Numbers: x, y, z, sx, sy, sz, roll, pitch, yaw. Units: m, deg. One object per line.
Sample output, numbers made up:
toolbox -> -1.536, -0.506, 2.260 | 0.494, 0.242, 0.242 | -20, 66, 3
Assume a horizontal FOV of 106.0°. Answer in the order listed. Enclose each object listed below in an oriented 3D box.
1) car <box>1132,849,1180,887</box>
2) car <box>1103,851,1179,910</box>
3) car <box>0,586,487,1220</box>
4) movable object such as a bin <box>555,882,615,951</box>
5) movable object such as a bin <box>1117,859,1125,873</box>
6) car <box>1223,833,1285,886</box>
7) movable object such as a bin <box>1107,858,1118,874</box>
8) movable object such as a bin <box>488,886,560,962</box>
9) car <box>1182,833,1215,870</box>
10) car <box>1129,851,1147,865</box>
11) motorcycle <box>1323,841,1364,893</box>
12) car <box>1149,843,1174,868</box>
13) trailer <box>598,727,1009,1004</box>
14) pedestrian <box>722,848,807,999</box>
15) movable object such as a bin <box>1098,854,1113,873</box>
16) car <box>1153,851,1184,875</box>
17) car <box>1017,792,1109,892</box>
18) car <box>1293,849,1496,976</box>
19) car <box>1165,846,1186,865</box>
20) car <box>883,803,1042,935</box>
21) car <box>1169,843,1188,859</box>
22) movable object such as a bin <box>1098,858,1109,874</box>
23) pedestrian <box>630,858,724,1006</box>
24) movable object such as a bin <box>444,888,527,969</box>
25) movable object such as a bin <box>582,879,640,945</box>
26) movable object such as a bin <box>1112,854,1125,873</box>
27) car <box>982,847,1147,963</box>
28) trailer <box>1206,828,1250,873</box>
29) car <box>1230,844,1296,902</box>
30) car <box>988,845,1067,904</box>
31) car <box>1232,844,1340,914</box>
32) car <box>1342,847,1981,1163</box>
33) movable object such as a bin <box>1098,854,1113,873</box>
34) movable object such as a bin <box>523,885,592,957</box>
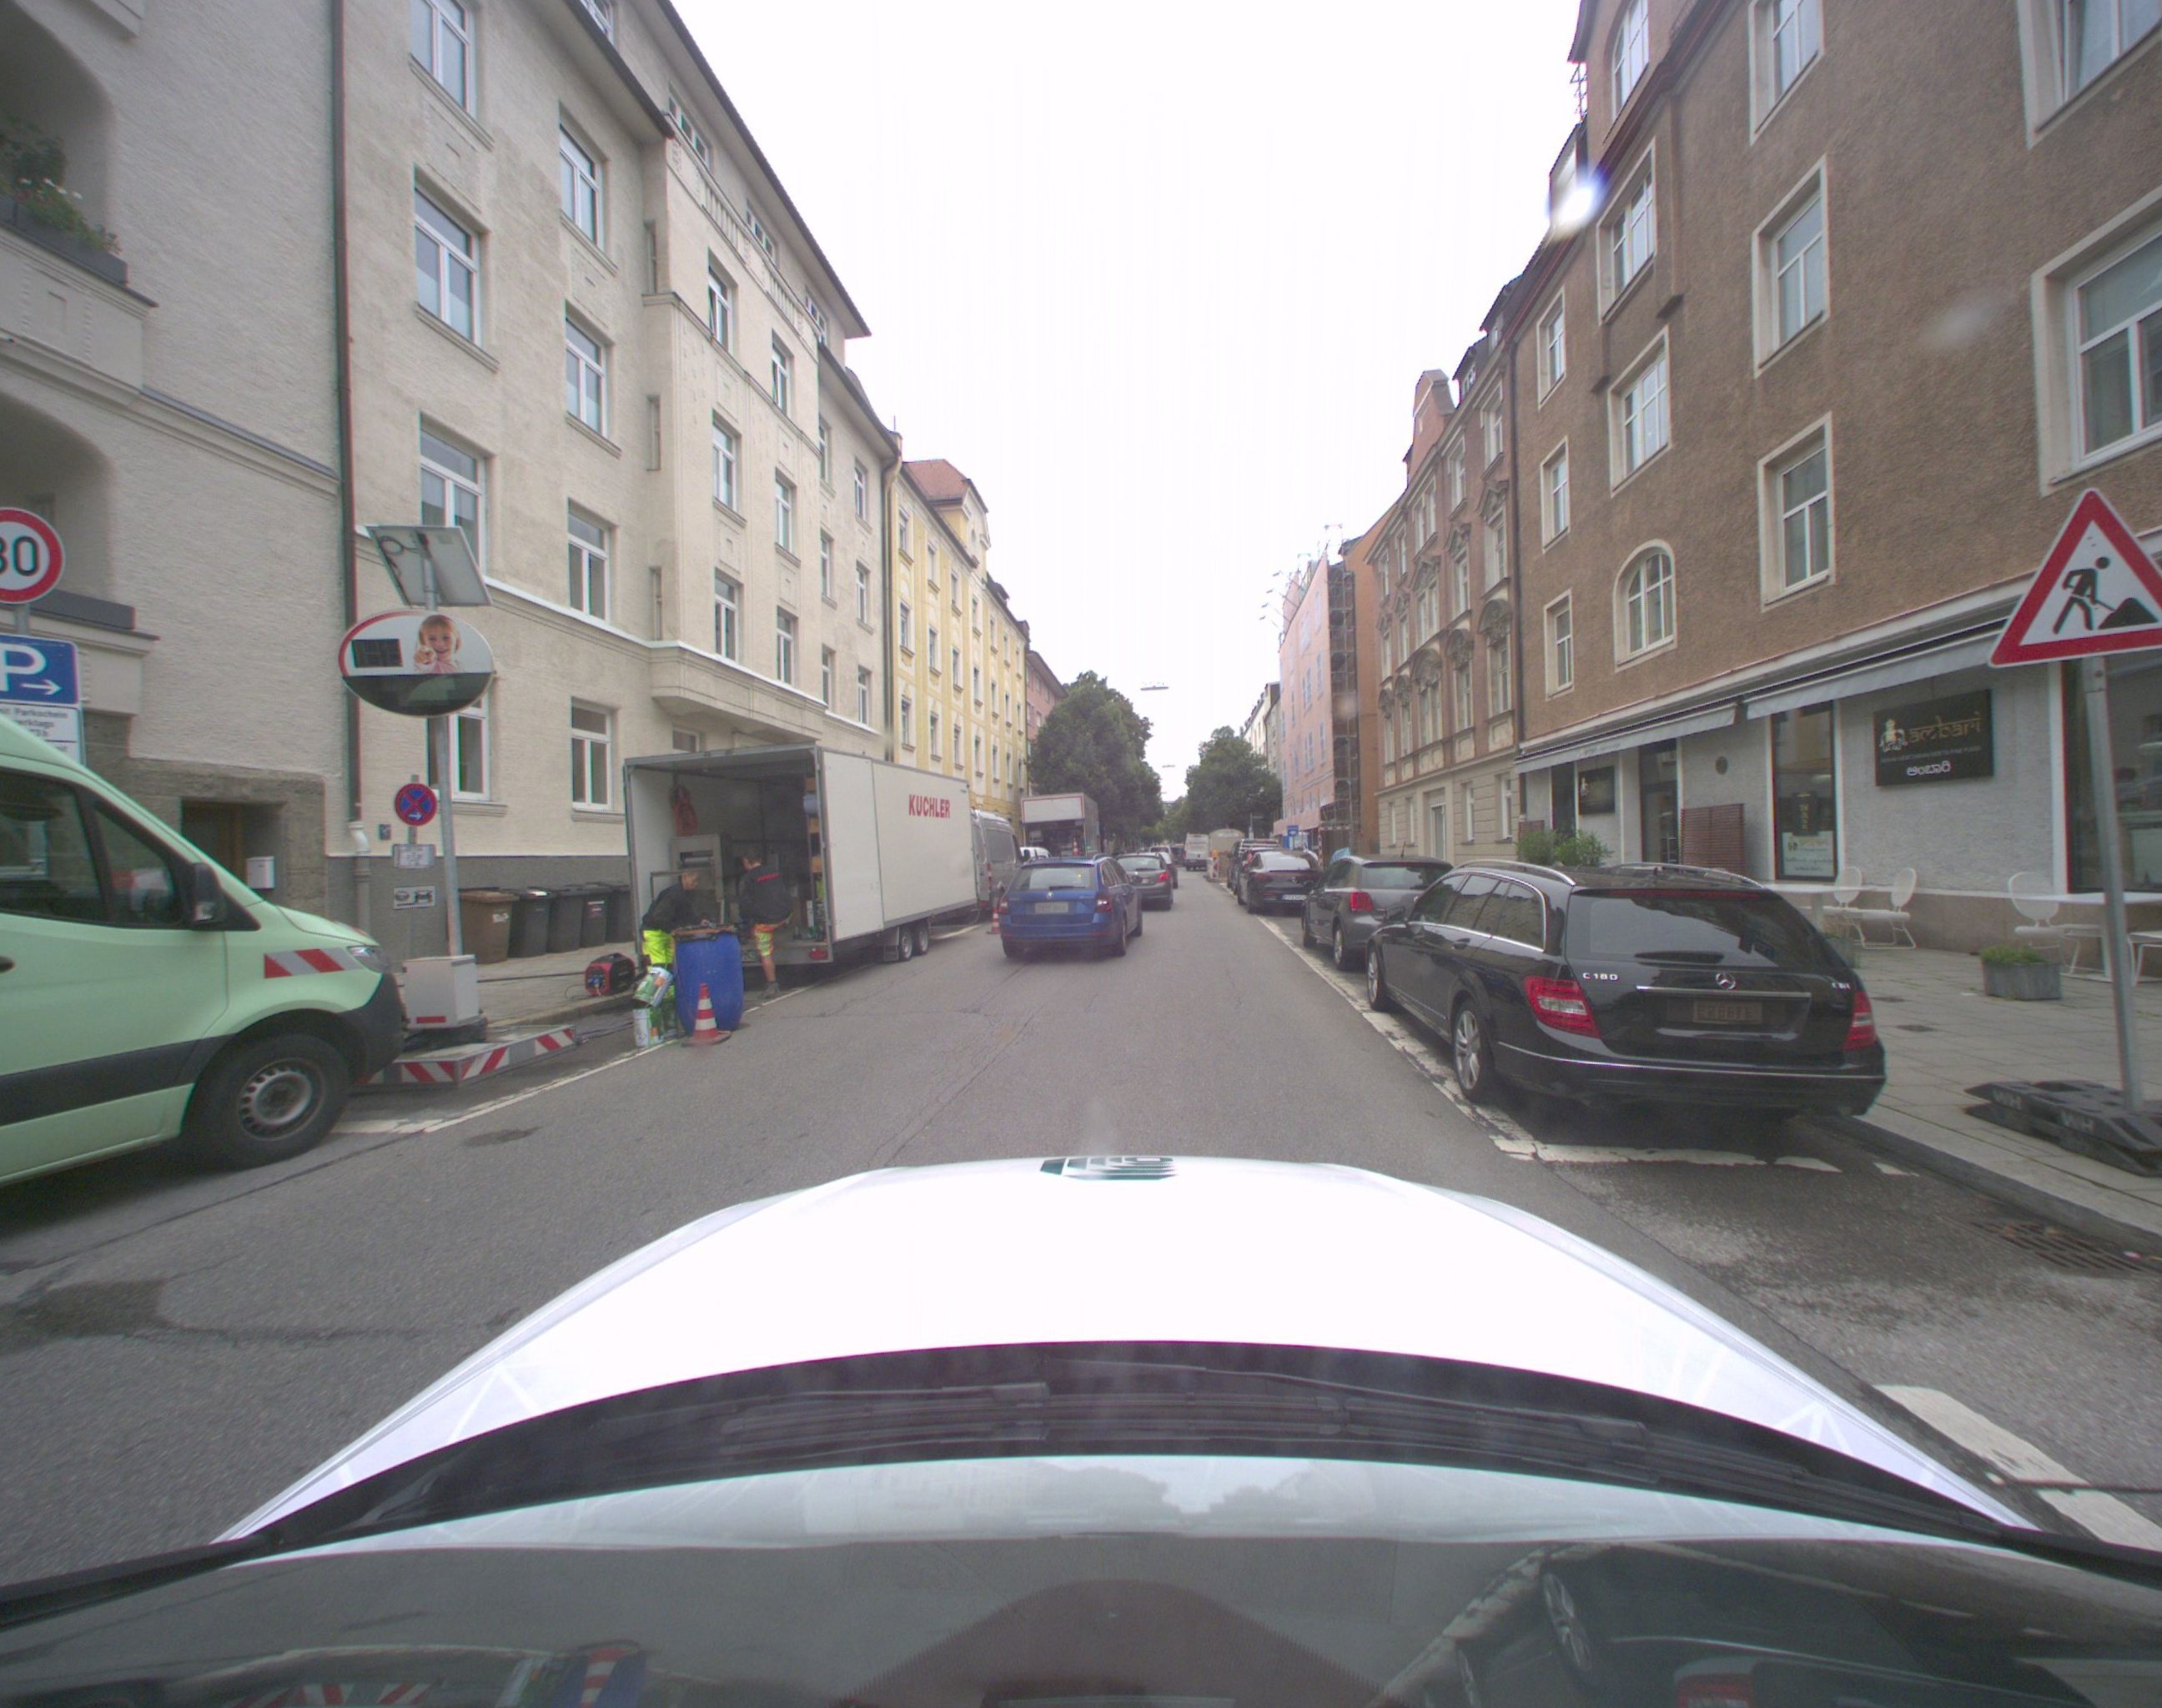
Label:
car -> 3.172, 0.542, 34.090 | 1.858, 1.454, 4.355 | 0, 1, 6
car -> 1.684, 0.655, 21.784 | 1.731, 1.422, 3.672 | -1, 0, 8
car -> -5.595, 0.221, 2.318 | 2.129, 2.572, 6.809 | -1, 0, 8
movable object such as a bin -> -8.556, 1.065, 14.060 | 0.644, 1.129, 0.556 | -2, -1, 9
movable object such as a bin -> 2.944, 0.881, 60.172 | 0.544, 1.020, 0.637 | -3, 0, 3
car -> 6.762, 0.302, 32.346 | 2.071, 1.921, 5.151 | 0, -2, 8
movable object such as a bin -> 2.324, 0.875, 60.176 | 0.708, 1.148, 0.637 | -3, 0, 3
movable object such as a bin -> -8.783, 1.096, 12.854 | 0.644, 1.129, 0.640 | -2, -1, 10
car -> 8.938, -0.162, 61.599 | 2.098, 2.663, 5.519 | 0, 0, 13
car -> 6.462, 0.474, 91.482 | 1.802, 1.478, 4.008 | -1, 0, 7
motorcycle -> 7.885, 0.373, 24.553 | 0.866, 1.505, 2.002 | -1, 0, 9
car -> 6.277, 0.105, 63.187 | 1.857, 1.870, 4.356 | 0, 1, 7
trailer -> -3.566, 0.101, 13.115 | 2.787, 2.969, 7.619 | -5, 0, 9
pedestrian -> -3.582, 0.760, 9.274 | 0.762, 1.631, 0.634 | -2, -1, -13
movable object such as a bin -> 1.841, 0.704, 61.066 | 1.077, 1.376, 1.084 | -3, 0, 3
car -> 5.401, 0.520, 49.969 | 1.857, 1.348, 4.356 | 0, 1, 7
car -> -0.553, -0.461, 36.239 | 2.798, 3.817, 8.739 | -2, 0, 7
car -> 4.073, 0.678, 11.285 | 1.564, 1.394, 4.190 | -2, 0, 6
car -> 8.584, 0.127, 74.020 | 1.857, 1.653, 4.356 | 0, 1, 7
car -> -2.670, 0.307, 20.576 | 2.045, 2.587, 6.889 | -6, 0, 7
car -> 10.340, -0.313, 86.719 | 1.997, 1.653, 4.355 | 0, 1, 6
movable object such as a bin -> 1.658, 0.914, 60.191 | 0.718, 1.138, 0.659 | -3, 0, 3
pedestrian -> -4.535, 0.849, 9.189 | 0.761, 1.580, 0.635 | -2, -1, -11
movable object such as a bin -> -8.886, 1.092, 12.172 | 0.644, 1.129, 0.732 | -2, -1, 10
movable object such as a bin -> -8.429, 1.038, 14.621 | 0.668, 1.129, 0.556 | -2, -1, 9
movable object such as a bin -> 2.837, 0.713, 61.044 | 0.914, 1.376, 1.080 | -3, 0, 3
car -> -0.058, 0.667, 12.698 | 1.778, 1.460, 4.325 | -2, 0, 9
trailer -> 9.703, -0.204, 54.368 | 2.489, 2.840, 6.914 | 0, 0, 7
car -> 5.794, 0.578, 26.361 | 1.684, 1.676, 4.417 | 2, 0, 8
car -> -1.735, 0.658, 27.954 | 1.753, 1.779, 4.336 | -3, 0, 8
car -> 5.109, 0.555, 21.032 | 1.921, 1.553, 5.646 | -1, 0, 6
car -> 3.376, 0.686, 6.103 | 1.837, 1.405, 4.798 | -1, 0, 7
movable object such as a bin -> 1.904, 0.726, 62.168 | 1.053, 1.376, 1.096 | -3, 0, 3
movable object such as a bin -> -8.646, 1.098, 13.475 | 0.672, 1.129, 0.640 | -2, -1, 10
